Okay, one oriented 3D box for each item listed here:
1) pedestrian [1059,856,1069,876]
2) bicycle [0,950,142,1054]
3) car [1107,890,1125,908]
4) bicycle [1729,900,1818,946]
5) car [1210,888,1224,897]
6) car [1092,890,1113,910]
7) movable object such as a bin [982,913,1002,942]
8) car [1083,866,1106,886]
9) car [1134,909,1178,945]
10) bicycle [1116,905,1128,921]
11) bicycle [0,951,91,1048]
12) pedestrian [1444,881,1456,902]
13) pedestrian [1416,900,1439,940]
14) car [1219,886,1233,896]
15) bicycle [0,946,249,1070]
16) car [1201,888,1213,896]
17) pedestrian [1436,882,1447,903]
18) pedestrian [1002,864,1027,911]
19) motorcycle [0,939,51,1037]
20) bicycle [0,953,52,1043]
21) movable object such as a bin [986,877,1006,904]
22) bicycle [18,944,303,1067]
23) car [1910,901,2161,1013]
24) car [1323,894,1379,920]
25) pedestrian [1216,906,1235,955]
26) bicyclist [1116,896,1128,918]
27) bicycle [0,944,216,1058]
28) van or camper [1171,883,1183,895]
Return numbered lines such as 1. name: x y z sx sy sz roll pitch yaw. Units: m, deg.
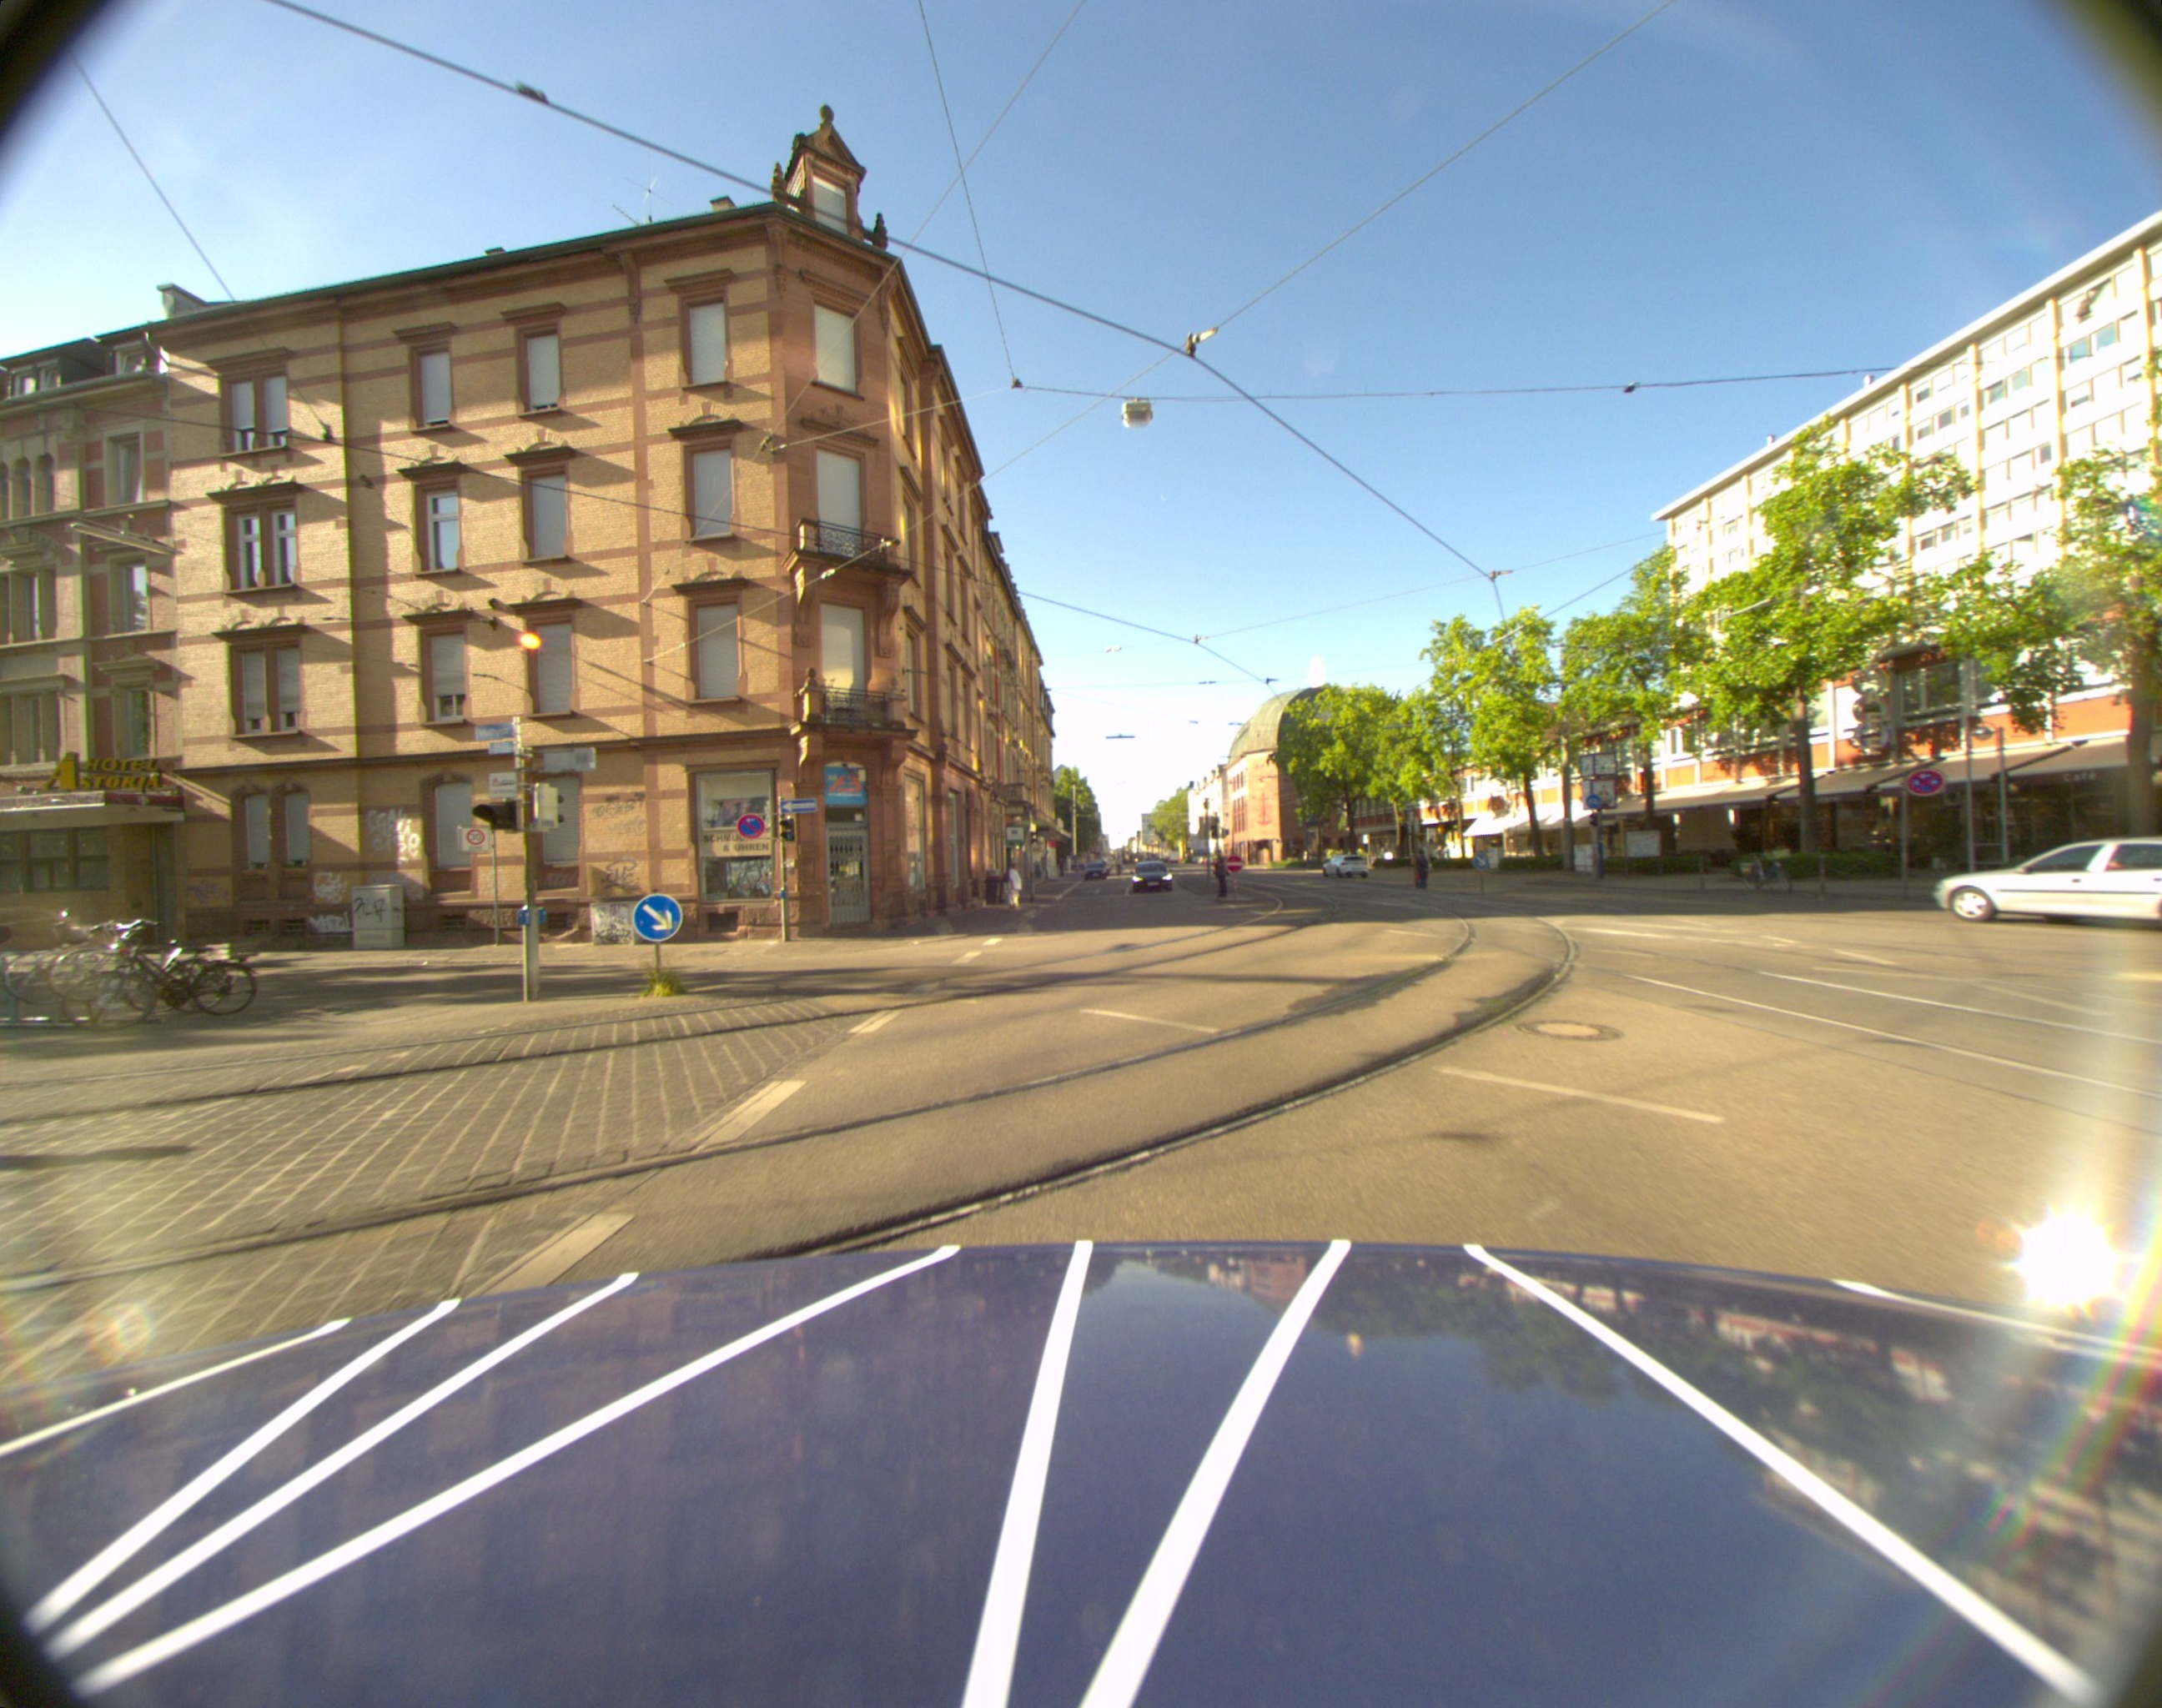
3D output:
1. pedestrian: -1.676 1.177 74.337 0.685 1.900 1.063 -4 -1 6
2. bicycle: -13.826 1.923 9.750 0.650 1.202 2.313 -2 -3 1
3. car: 4.283 5.551 93.744 1.998 2.001 4.001 -4 -1 0
4. bicycle: 19.965 1.959 21.979 0.498 1.179 2.236 -2 -2 1
5. car: 24.533 6.884 137.108 1.855 1.444 3.856 -3 -2 3
6. car: 2.142 4.450 74.500 1.694 1.702 4.619 -4 -2 5
7. movable object such as a bin: -3.432 2.819 29.230 0.664 1.066 0.545 0 -2 5
8. car: 1.152 1.794 62.031 1.694 1.441 4.362 -4 -2 2
9. car: 3.602 3.529 37.175 1.815 1.415 4.156 -4 -2 2
10. bicycle: 3.554 5.103 65.983 0.889 1.154 2.079 -4 -1 3
11. bicycle: -14.535 1.940 9.729 0.650 1.202 2.313 -2 -3 1
12. pedestrian: 31.307 3.158 64.501 0.573 1.739 0.707 -2 -2 4
13. pedestrian: 13.495 2.571 29.638 0.501 1.508 0.859 -1 -2 3
14. car: 24.334 6.216 127.421 1.753 1.444 3.473 -3 -2 1
15. bicycle: -12.241 1.879 9.668 0.753 1.202 2.313 -2 -3 1
16. car: 25.387 7.730 153.384 1.855 1.444 3.856 -3 -2 3
17. pedestrian: 30.655 3.236 64.569 0.573 1.761 0.707 -2 -2 4
18. pedestrian: -2.329 1.158 26.493 0.683 1.597 0.730 -2 -2 -16
19. motorcycle: -16.645 1.972 10.923 1.948 1.395 0.864 1 -5 -34
20. bicycle: -15.349 1.993 9.917 0.650 1.202 2.313 -2 -3 1
21. movable object such as a bin: -3.324 1.426 29.856 0.664 1.066 0.591 0 -2 5
22. bicycle: -11.440 1.826 9.625 0.753 1.202 2.313 -2 -3 1
23. car: 16.234 1.523 11.625 1.998 1.442 4.652 -2 -2 1
24. car: 16.938 3.290 47.904 1.998 1.442 4.504 -2 -2 1
25. pedestrian: 5.355 2.809 28.185 0.559 1.752 0.895 -1 -2 3
26. bicyclist: 3.525 4.585 65.957 0.895 1.755 1.030 -4 -1 3
27. bicycle: -13.003 1.862 9.957 0.650 1.202 2.313 -2 -3 1
28. van or camper: 22.448 8.164 177.871 2.041 2.722 7.024 -2 -2 3
